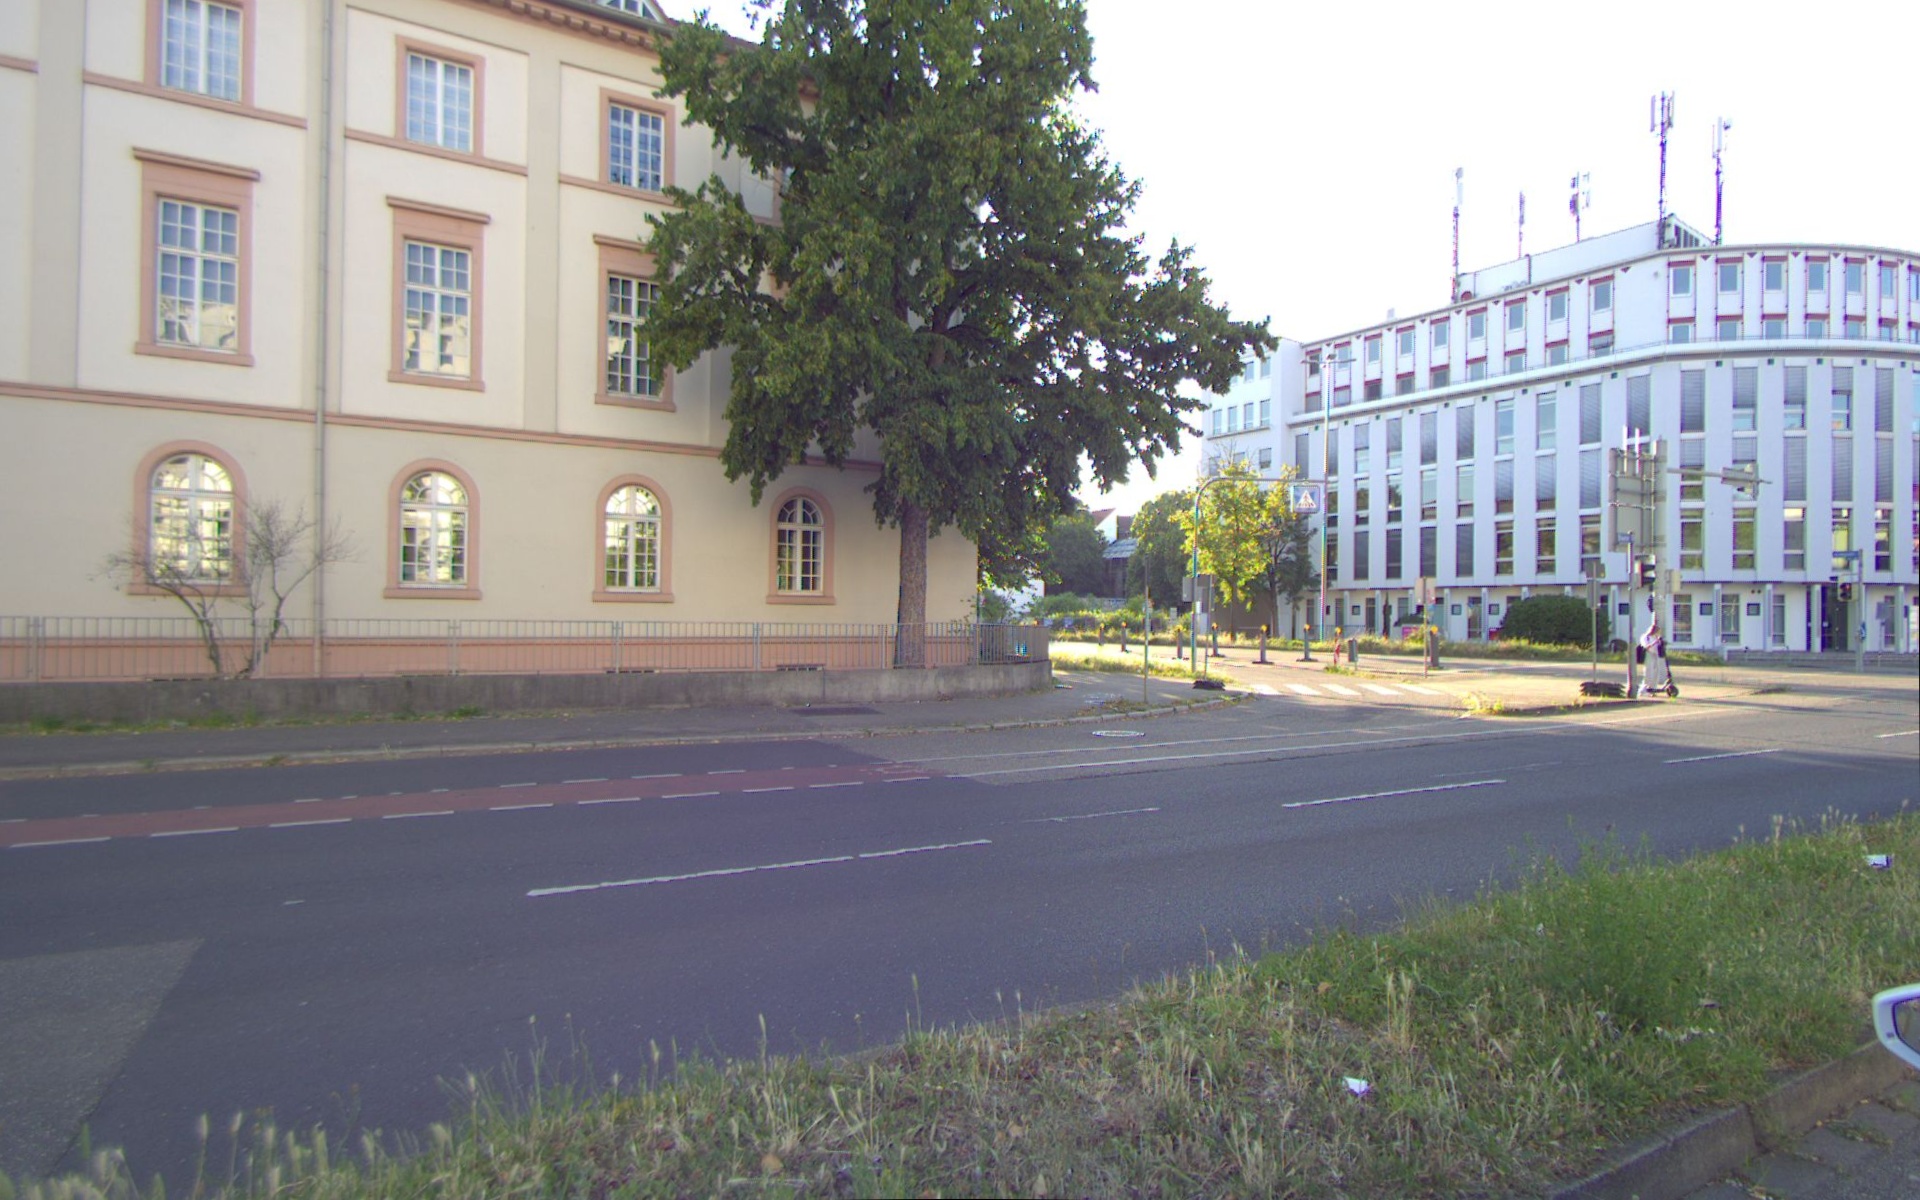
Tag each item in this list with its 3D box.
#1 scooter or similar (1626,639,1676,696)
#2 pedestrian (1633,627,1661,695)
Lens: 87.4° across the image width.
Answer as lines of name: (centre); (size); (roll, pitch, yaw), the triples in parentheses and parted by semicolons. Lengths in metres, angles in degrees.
scooter or similar: (15.650, 1.516, 22.758); (0.368, 1.250, 0.885); (1, -1, -40)
pedestrian: (15.753, 1.384, 23.029); (0.332, 1.525, 0.470); (1, -1, -41)
